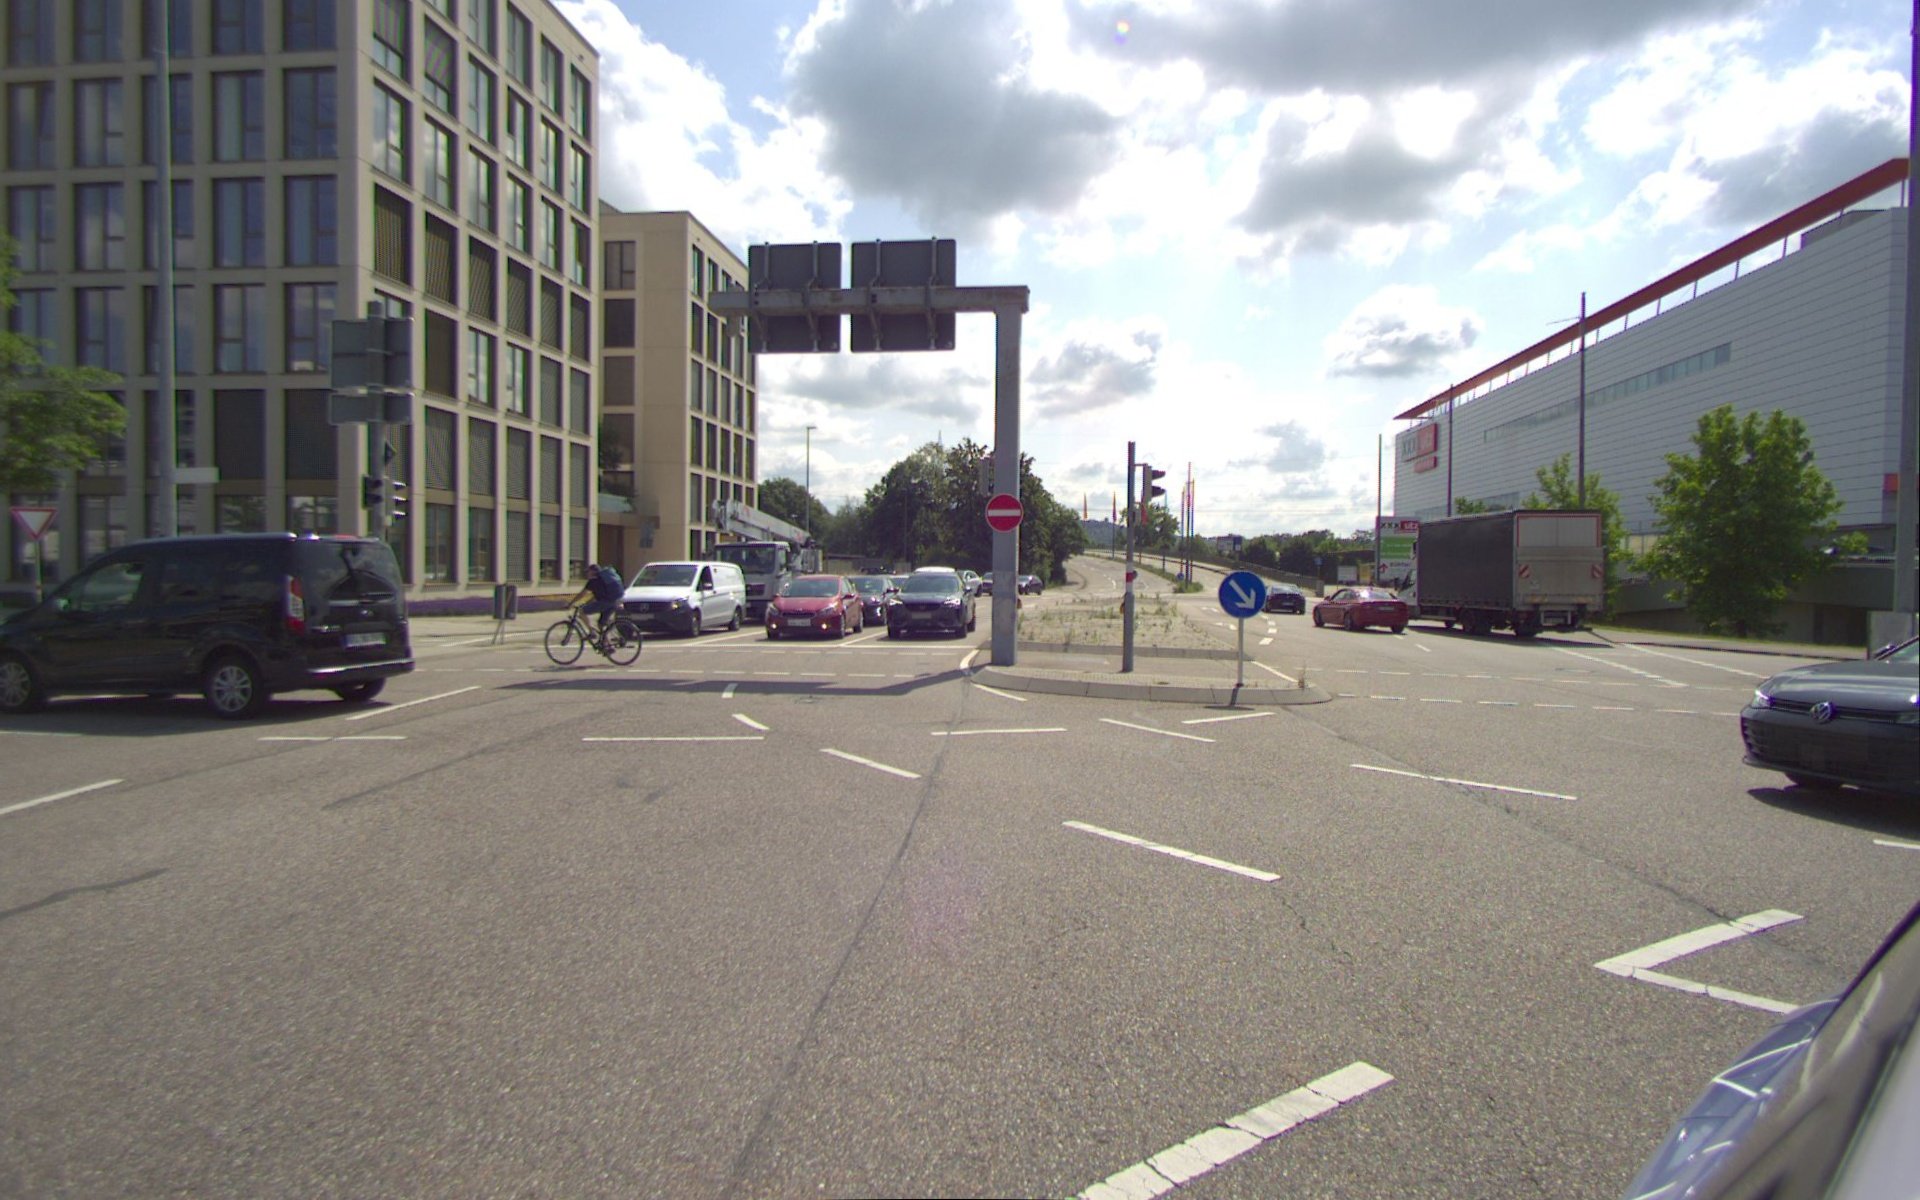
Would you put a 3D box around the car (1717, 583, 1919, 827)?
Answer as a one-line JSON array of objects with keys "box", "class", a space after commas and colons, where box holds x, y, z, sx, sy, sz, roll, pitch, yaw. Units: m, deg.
[{"box": [8.362, 0.626, 7.093, 5.097, 1.496, 1.817, 0, 1, -8], "class": "car"}]

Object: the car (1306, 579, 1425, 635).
[{"box": [13.206, 0.208, 33.260, 1.827, 1.676, 4.223, -1, 0, -6], "class": "car"}]

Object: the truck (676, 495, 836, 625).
[{"box": [-6.282, -1.138, 33.008, 2.627, 3.600, 9.773, -1, 0, 4], "class": "truck"}]

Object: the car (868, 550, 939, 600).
[{"box": [-1.953, -0.861, 36.203, 1.797, 1.647, 4.203, -1, 0, 8], "class": "car"}]

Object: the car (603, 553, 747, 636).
[{"box": [-7.039, -0.143, 25.584, 1.964, 1.861, 4.988, -1, 0, 4], "class": "car"}]

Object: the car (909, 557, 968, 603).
[{"box": [-0.854, -0.834, 43.959, 1.798, 1.861, 4.434, -1, 0, 9], "class": "car"}]

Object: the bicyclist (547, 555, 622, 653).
[{"box": [-5.897, 0.065, 15.922, 0.902, 1.496, 0.635, -1, 0, 14], "class": "bicyclist"}]

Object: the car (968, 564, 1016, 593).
[{"box": [2.200, -1.425, 68.376, 1.806, 1.861, 4.414, -1, 0, 22], "class": "car"}]

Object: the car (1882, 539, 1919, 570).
[{"box": [58.269, -2.756, 61.147, 1.533, 1.846, 4.415, 0, 1, 7], "class": "car"}]

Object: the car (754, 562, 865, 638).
[{"box": [-3.505, -0.018, 24.256, 1.795, 1.647, 4.208, -1, 0, 4], "class": "car"}]

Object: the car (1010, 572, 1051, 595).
[{"box": [5.198, -1.191, 74.029, 1.806, 1.634, 4.414, -1, 0, 22], "class": "car"}]

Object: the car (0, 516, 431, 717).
[{"box": [-8.092, 0.139, 10.905, 3.933, 1.929, 1.825, 0, 1, 8], "class": "car"}]

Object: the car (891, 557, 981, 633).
[{"box": [-0.488, -0.122, 24.236, 1.795, 1.647, 4.208, -1, 0, 4], "class": "car"}]

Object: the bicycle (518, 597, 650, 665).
[{"box": [-5.916, 0.476, 15.928, 1.949, 1.024, 0.646, -1, 0, 15], "class": "bicycle"}]

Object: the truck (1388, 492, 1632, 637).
[{"box": [17.510, -1.034, 33.259, 3.162, 4.078, 9.067, -1, 0, 1], "class": "truck"}]

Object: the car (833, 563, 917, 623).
[{"box": [-2.477, -0.212, 30.364, 1.796, 1.647, 4.206, -1, 0, 5], "class": "car"}]

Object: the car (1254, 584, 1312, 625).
[{"box": [15.223, 0.260, 47.839, 1.833, 1.677, 4.208, 1, -3, 7], "class": "car"}]
